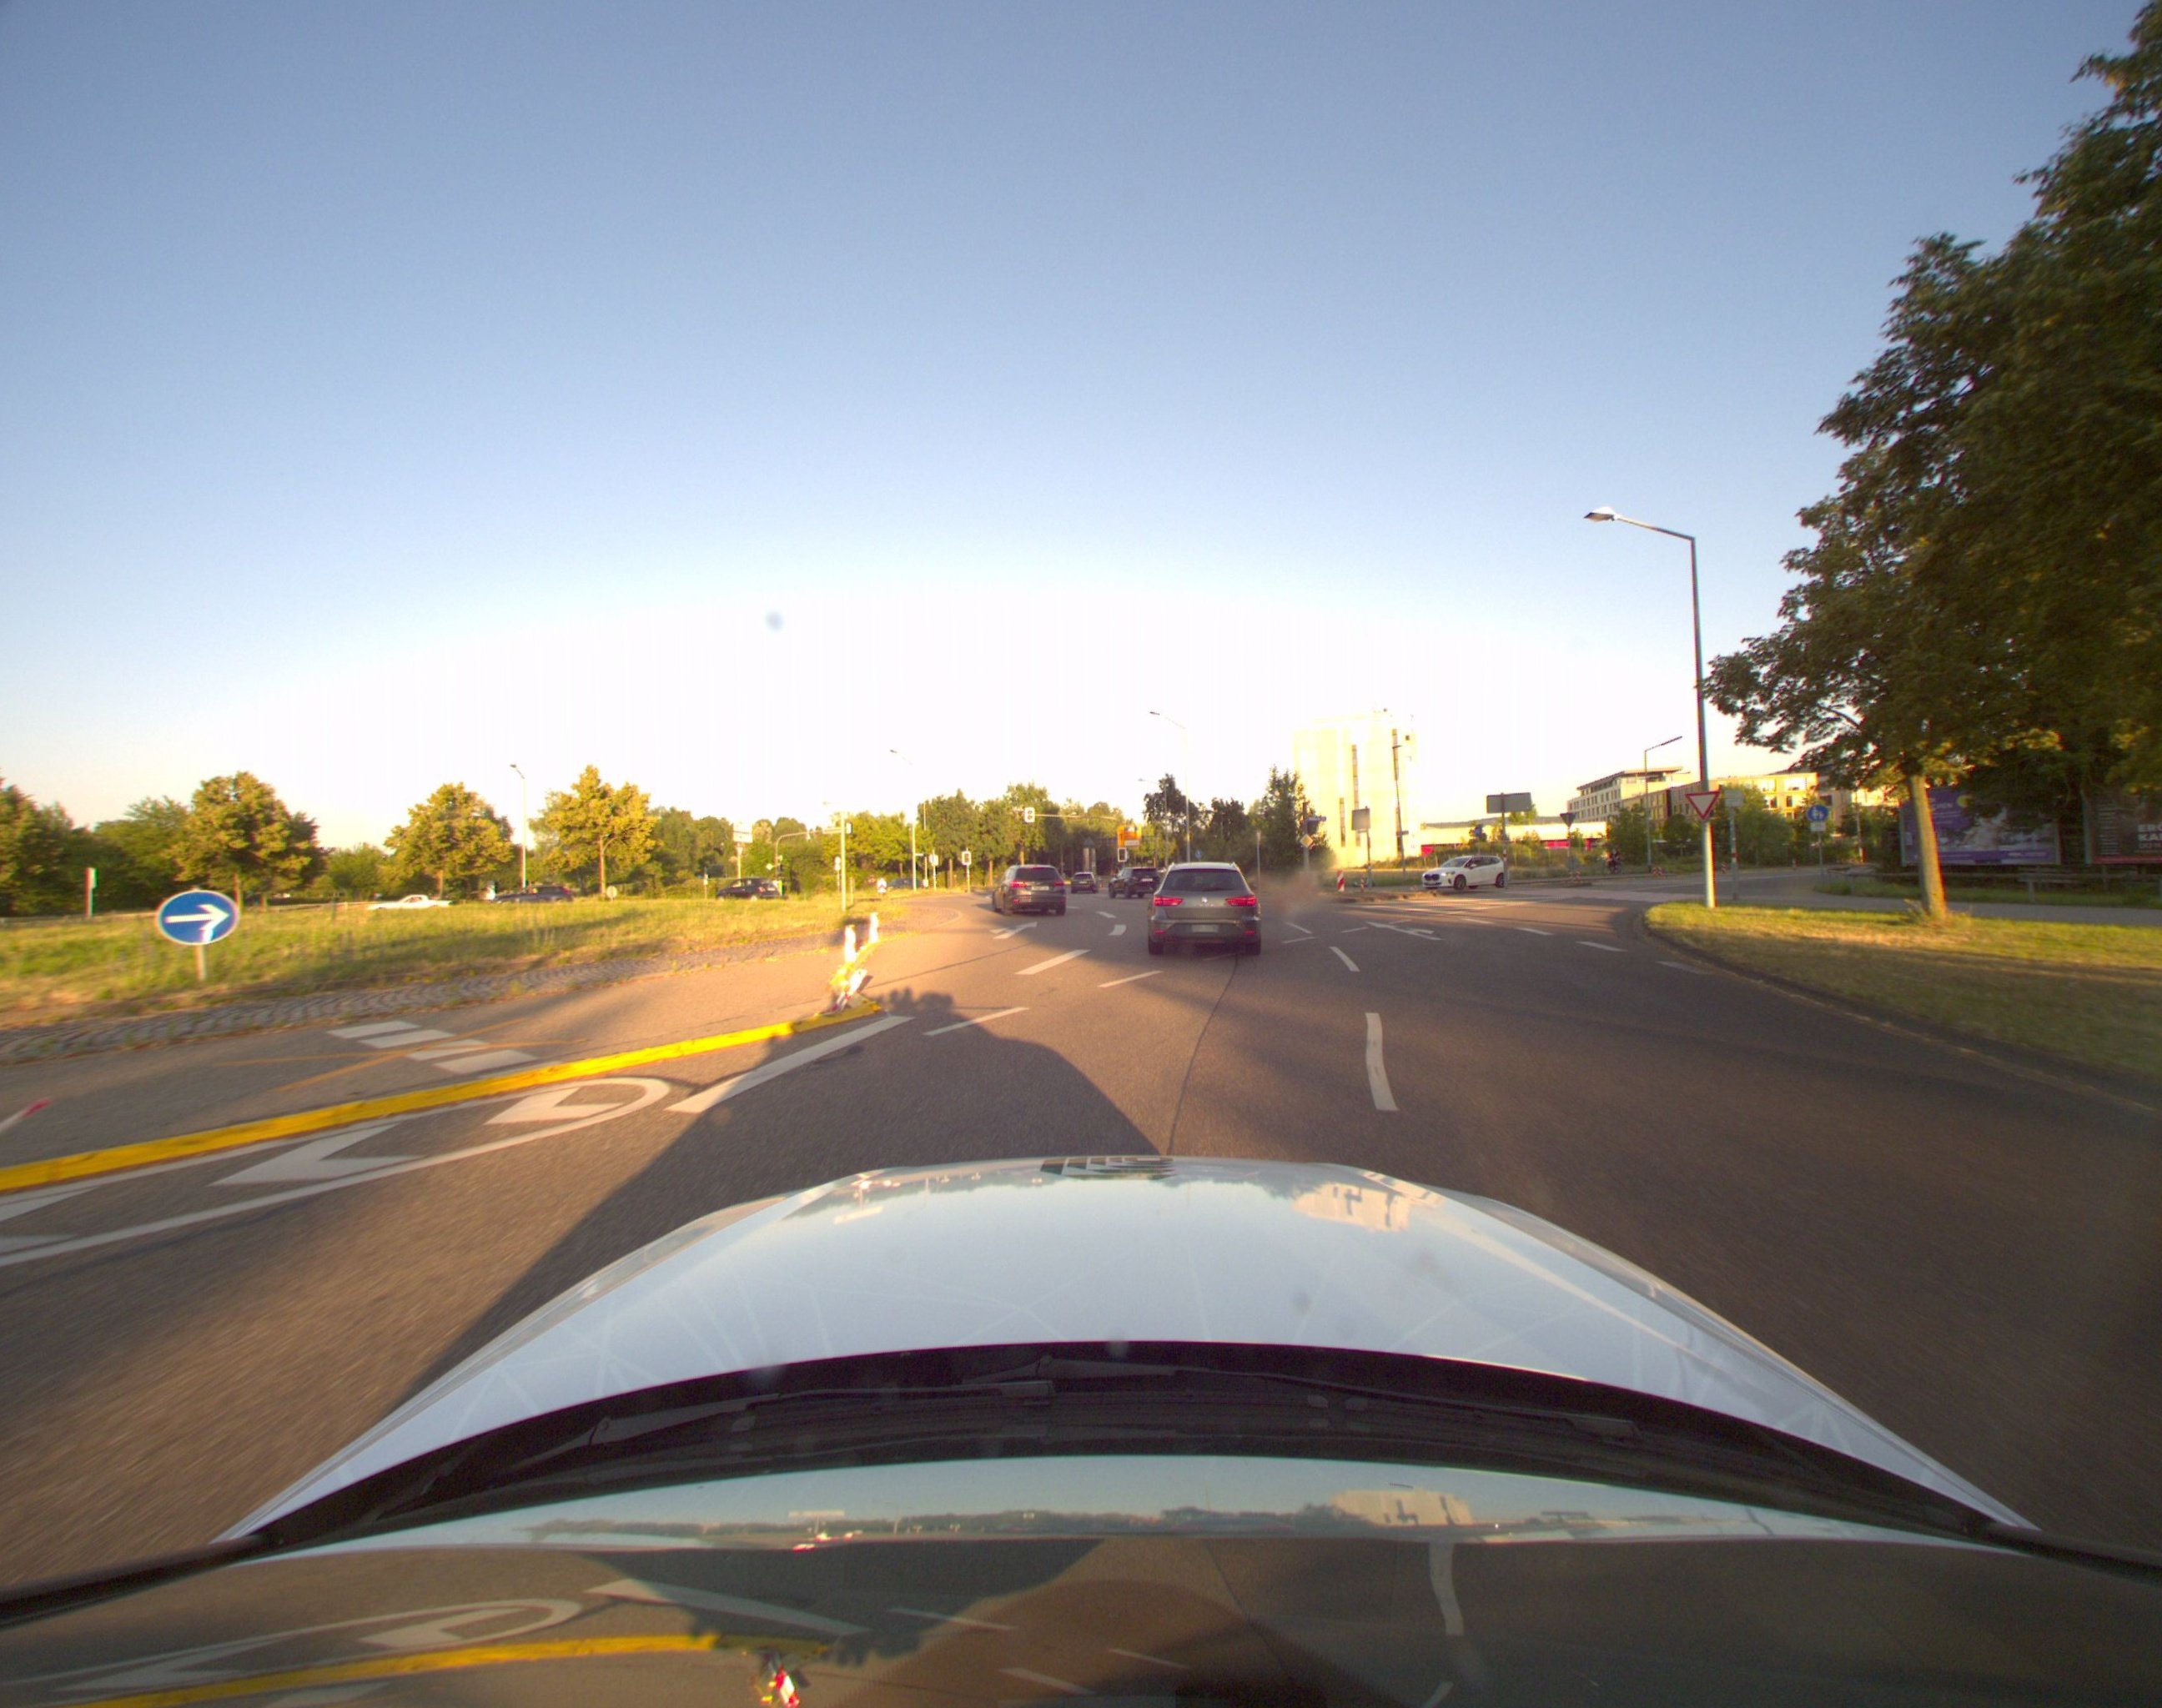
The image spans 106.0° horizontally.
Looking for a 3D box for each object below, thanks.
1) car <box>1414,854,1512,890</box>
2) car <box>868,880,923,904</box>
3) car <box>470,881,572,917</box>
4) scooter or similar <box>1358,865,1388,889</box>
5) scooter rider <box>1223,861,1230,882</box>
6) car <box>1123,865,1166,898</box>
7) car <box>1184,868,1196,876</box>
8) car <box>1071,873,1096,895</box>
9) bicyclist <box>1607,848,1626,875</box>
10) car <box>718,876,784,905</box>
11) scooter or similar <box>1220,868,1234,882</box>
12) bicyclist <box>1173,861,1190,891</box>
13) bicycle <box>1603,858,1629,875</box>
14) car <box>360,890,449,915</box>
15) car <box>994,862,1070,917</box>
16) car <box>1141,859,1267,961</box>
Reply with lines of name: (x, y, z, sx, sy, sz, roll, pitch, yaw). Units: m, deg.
car: (17.790, 0.824, 37.960, 4.100, 1.559, 1.876, -1, -2, -24)
car: (-14.814, 3.024, 65.181, 1.729, 1.748, 4.624, -2, -1, 26)
car: (-31.402, 2.471, 45.710, 4.620, 1.748, 1.731, -1, -1, -39)
scooter or similar: (14.296, 1.115, 39.882, 0.444, 1.163, 1.368, 0, -1, -36)
scooter rider: (9.497, 1.129, 53.142, 0.265, 1.339, 0.403, -1, -1, -28)
car: (3.100, 1.310, 40.400, 1.806, 1.525, 4.134, -1, -1, 1)
car: (23.729, 3.909, 177.214, 1.708, 1.449, 4.570, -2, -1, 17)
car: (0.190, 2.142, 59.327, 1.740, 1.489, 4.135, -1, -1, 1)
bicyclist: (34.249, 0.488, 52.071, 0.539, 1.744, 0.835, 0, -2, -32)
car: (-17.958, 1.969, 44.249, 4.083, 1.446, 1.762, -2, -1, 44)
scooter or similar: (9.531, 1.386, 53.157, 0.248, 0.914, 1.029, -1, -1, -28)
bicyclist: (6.700, 1.457, 54.225, 0.900, 1.898, 0.644, -4, -2, 16)
bicycle: (34.246, 0.806, 52.162, 0.281, 1.089, 1.358, -1, -2, -32)
car: (-38.036, 2.693, 45.889, 3.798, 1.255, 1.561, 1, -2, -38)
car: (-1.575, 1.026, 24.564, 1.747, 1.466, 4.118, -1, -1, -11)
car: (2.081, 0.822, 13.624, 1.735, 1.424, 4.145, -2, -1, 9)
